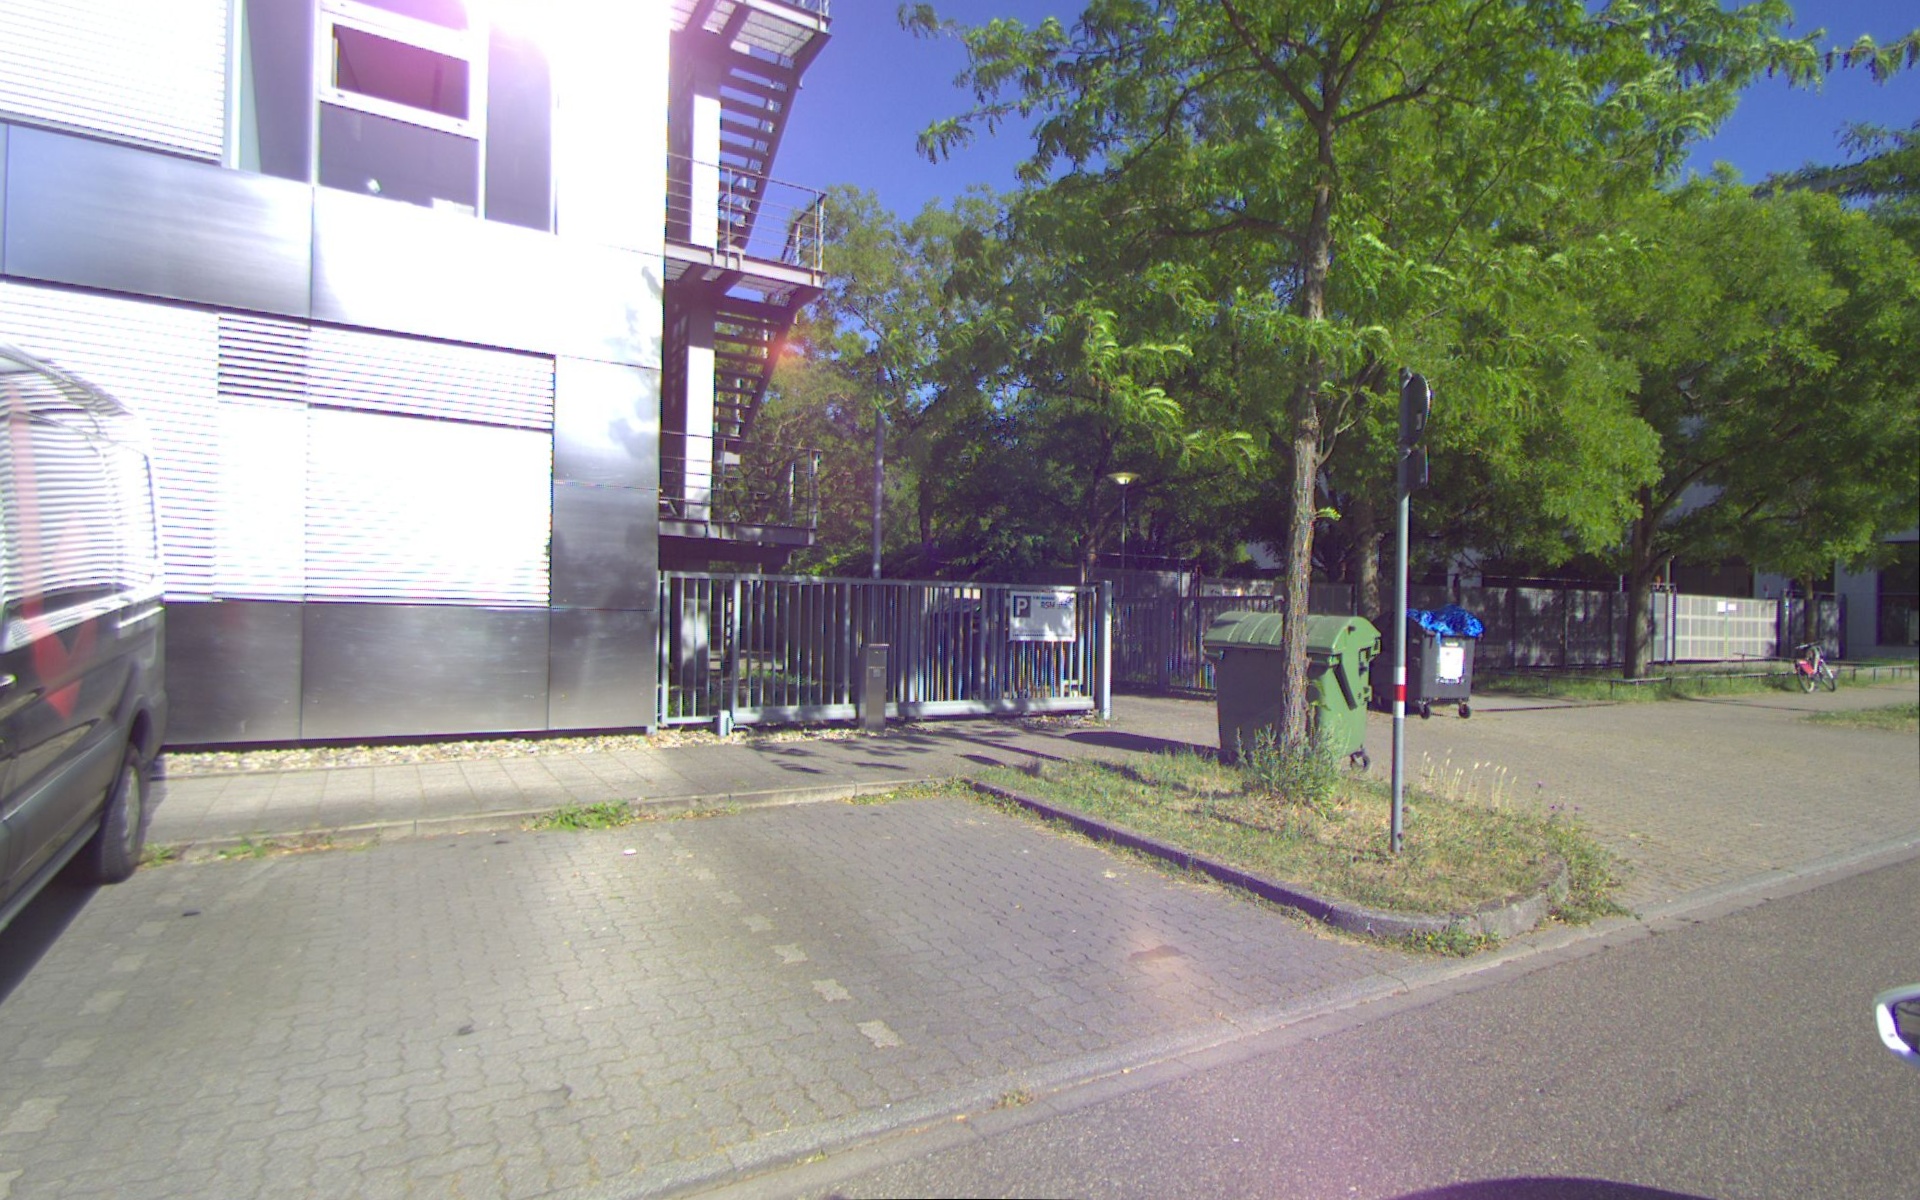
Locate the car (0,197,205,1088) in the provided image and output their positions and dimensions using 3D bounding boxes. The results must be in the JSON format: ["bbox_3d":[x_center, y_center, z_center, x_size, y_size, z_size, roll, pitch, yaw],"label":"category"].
[{"bbox_3d":[-4.322,0.128,3.327,2.206,2.657,5.428,2,0,-30],"label":"car"}]

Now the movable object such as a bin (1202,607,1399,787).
[{"bbox_3d":[3.043,0.796,8.976,1.279,1.432,1.221,1,-1,42],"label":"movable object such as a bin"}]

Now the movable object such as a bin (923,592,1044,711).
[{"bbox_3d":[0.297,0.678,13.559,1.000,1.505,1.474,2,-2,-30],"label":"movable object such as a bin"}]

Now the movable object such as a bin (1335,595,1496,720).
[{"bbox_3d":[6.681,0.827,14.777,1.503,1.618,1.408,4,2,-27],"label":"movable object such as a bin"}]

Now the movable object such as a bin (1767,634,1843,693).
[{"bbox_3d":[18.170,1.344,21.583,1.913,1.197,0.659,1,-1,-31],"label":"movable object such as a bin"}]
